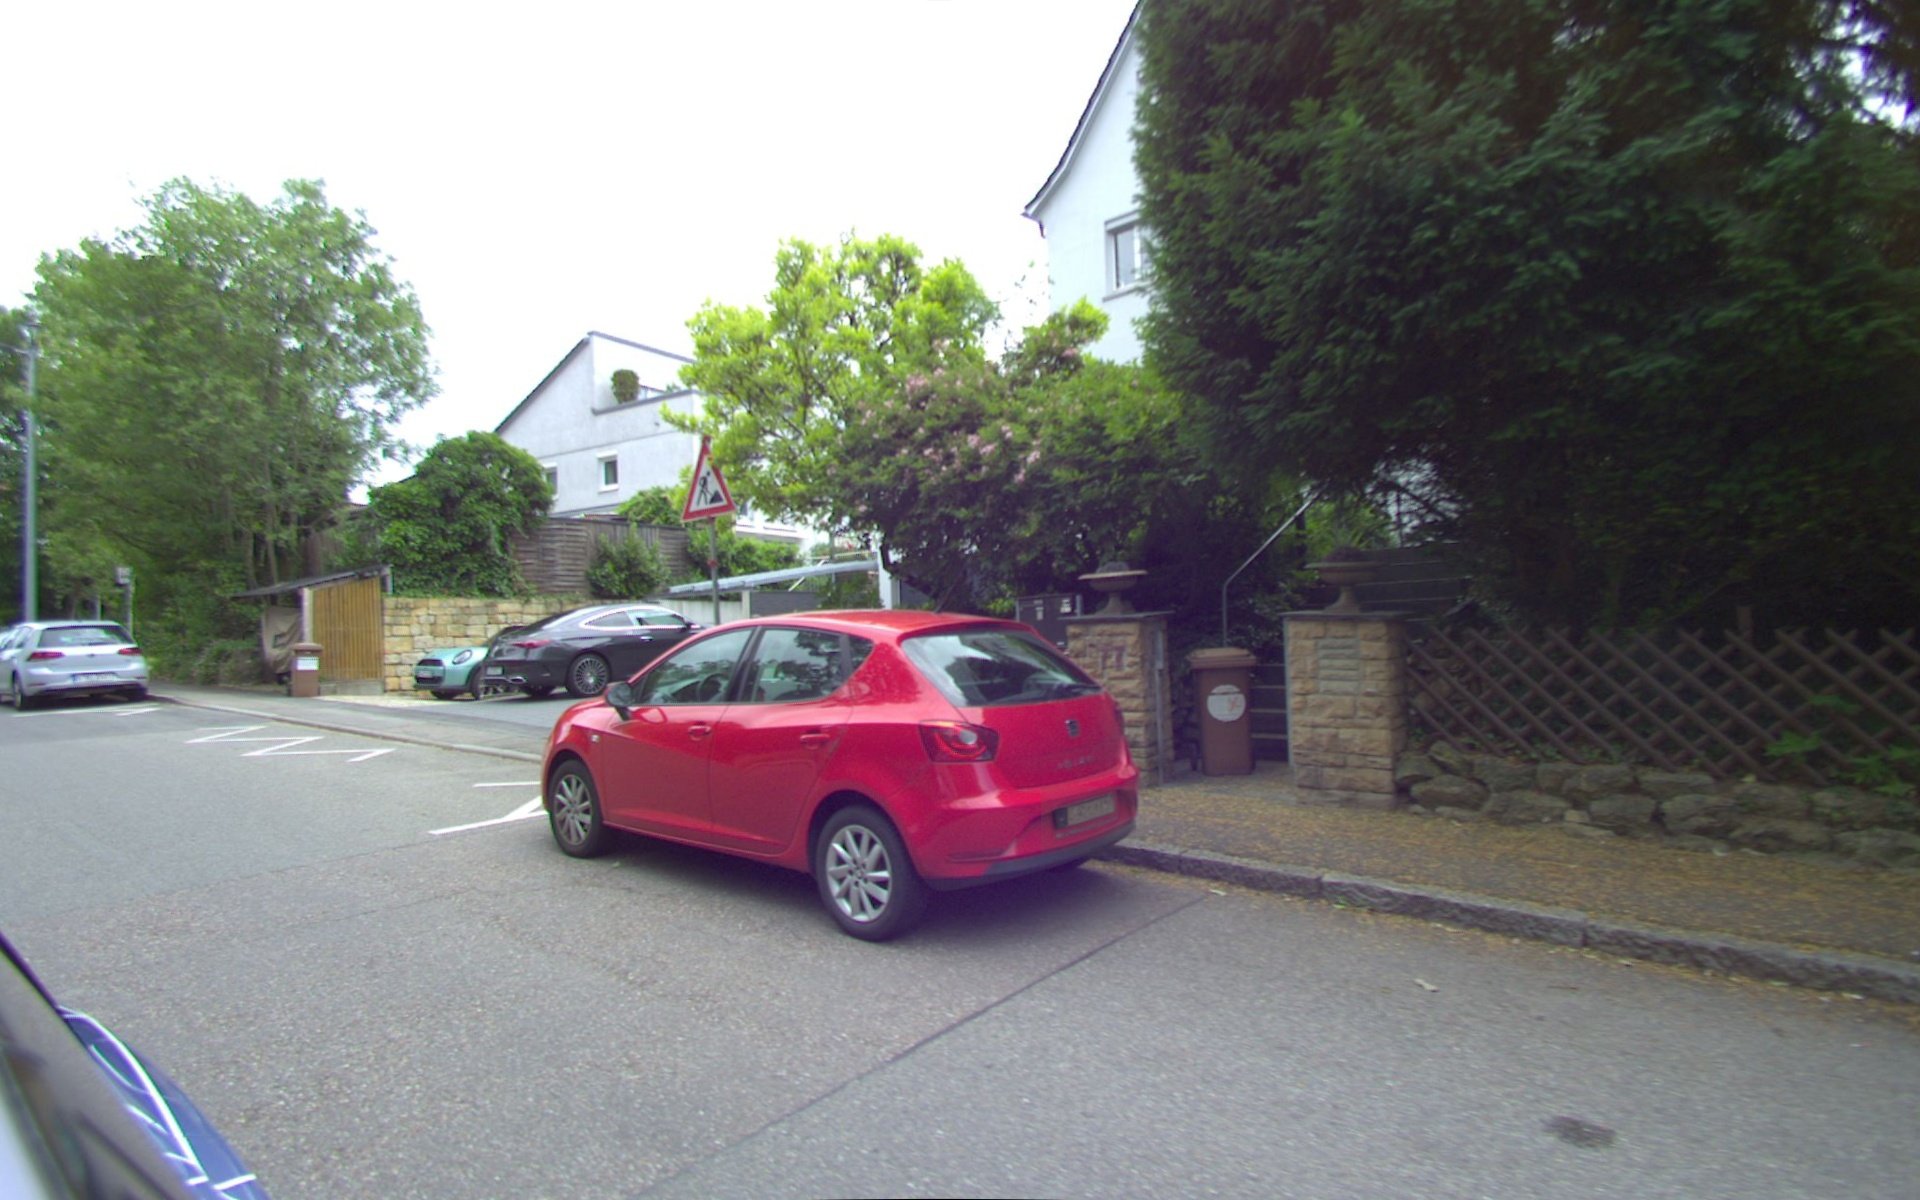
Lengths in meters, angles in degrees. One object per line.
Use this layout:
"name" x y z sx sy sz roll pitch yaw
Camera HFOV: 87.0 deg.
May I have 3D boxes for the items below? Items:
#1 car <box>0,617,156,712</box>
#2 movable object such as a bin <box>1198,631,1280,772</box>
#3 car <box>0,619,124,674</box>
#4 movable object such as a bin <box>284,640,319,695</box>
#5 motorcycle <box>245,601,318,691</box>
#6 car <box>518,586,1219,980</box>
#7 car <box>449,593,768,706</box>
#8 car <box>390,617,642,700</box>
"car" -15.982 1.074 17.935 4.036 1.460 1.744 -2 -1 37
"movable object such as a bin" 2.056 0.733 7.504 0.473 0.980 0.598 -2 0 7
"car" -31.079 1.542 33.732 1.998 1.701 4.649 -2 0 39
"movable object such as a bin" -11.427 1.172 17.561 0.556 0.931 0.362 -2 -4 44
"motorcycle" -12.554 0.837 18.700 1.910 1.594 0.478 -2 -1 37
"car" -0.712 0.712 5.630 3.785 1.450 1.719 -2 -1 41
"car" -5.599 0.720 16.605 1.890 1.397 4.558 -3 1 42
"car" -8.229 1.158 19.058 1.820 1.397 3.915 -3 -6 38
